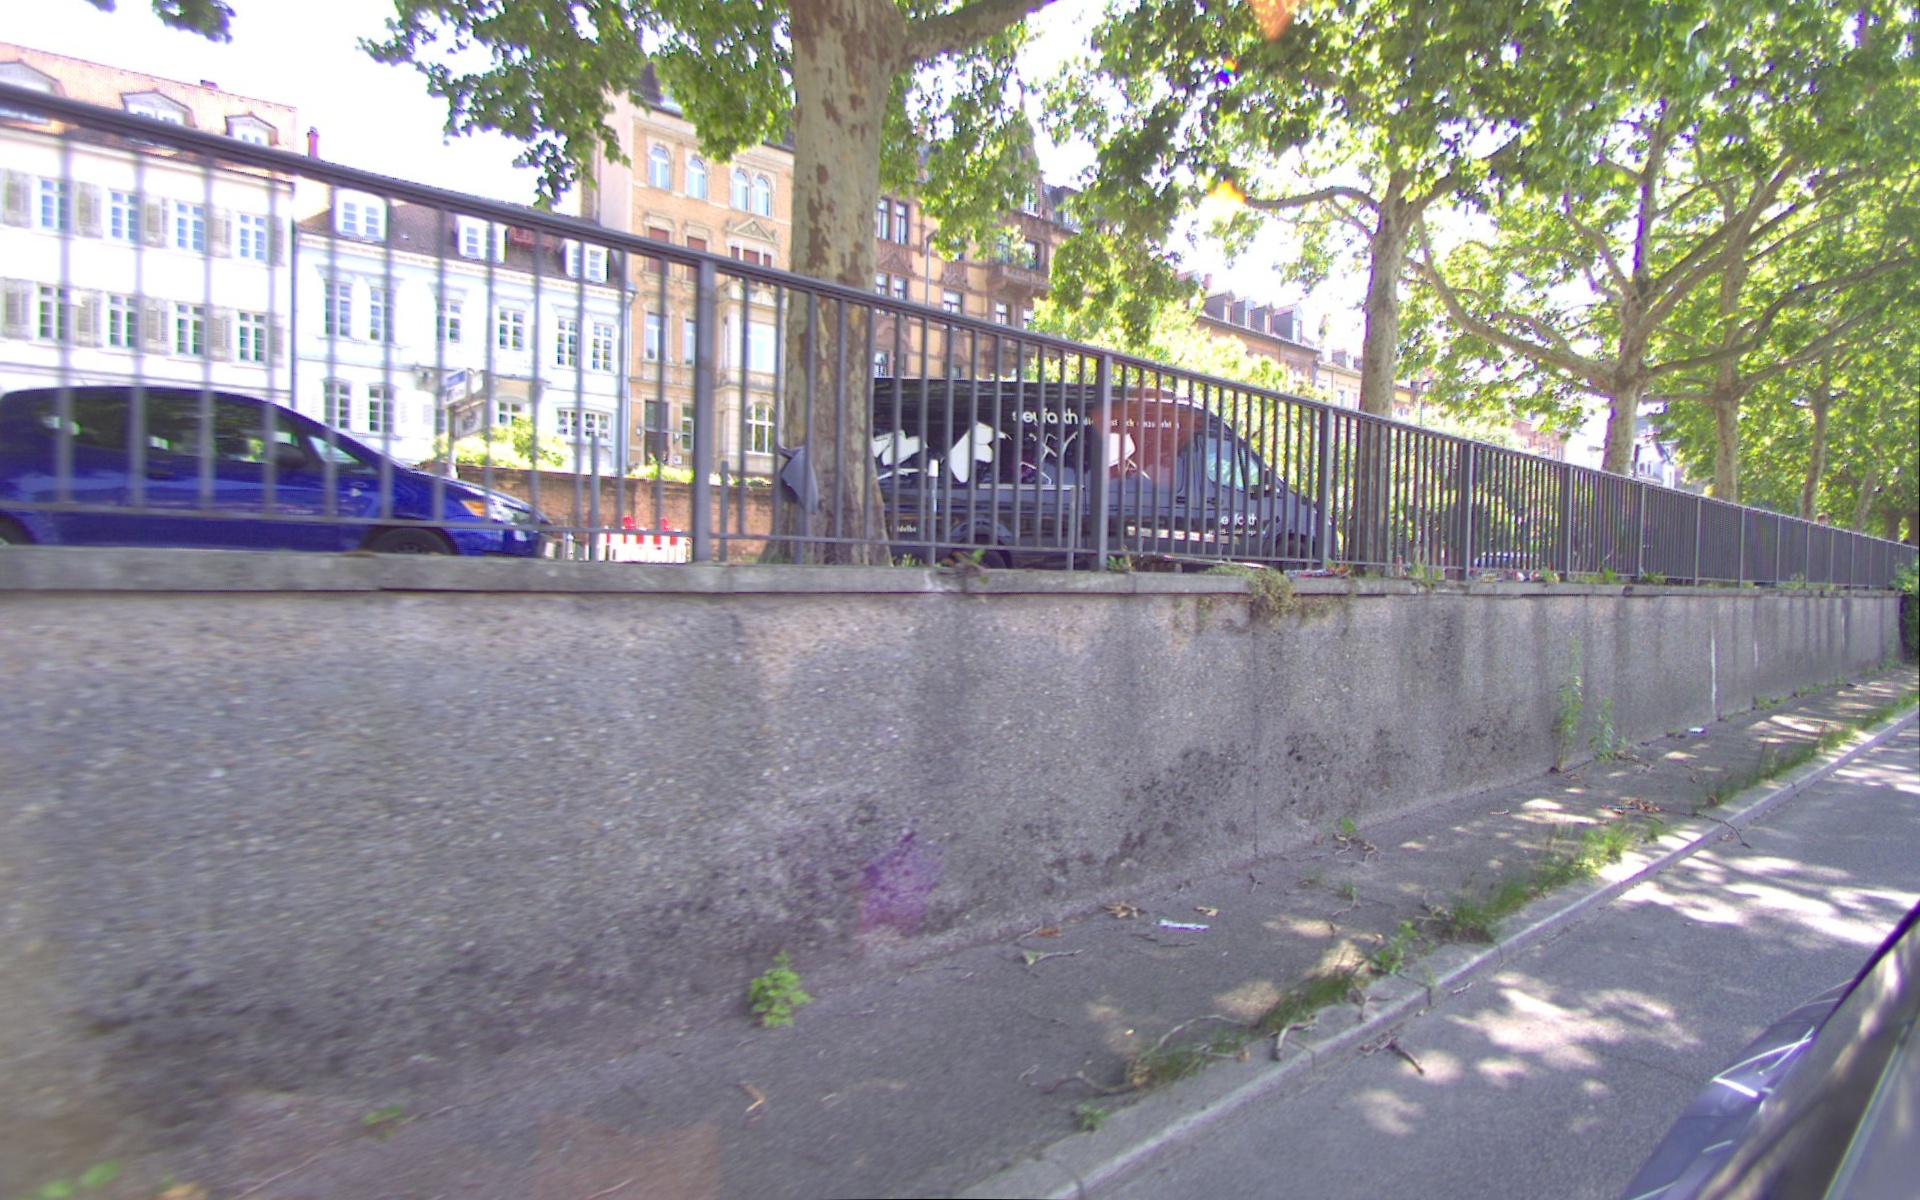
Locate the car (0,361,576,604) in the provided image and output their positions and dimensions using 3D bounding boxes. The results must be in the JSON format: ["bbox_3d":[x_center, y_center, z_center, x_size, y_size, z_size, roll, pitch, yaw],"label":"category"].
[{"bbox_3d":[-4.923,-0.750,7.487,3.737,1.519,1.658,0,1,-15],"label":"car"}]

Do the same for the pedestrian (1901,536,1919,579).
[{"bbox_3d":[36.797,-1.638,39.054,0.646,1.660,0.617,2,1,42],"label":"pedestrian"}]

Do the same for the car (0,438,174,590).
[{"bbox_3d":[-10.212,-0.898,10.131,3.652,1.444,1.878,0,4,-40],"label":"car"}]

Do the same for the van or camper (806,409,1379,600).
[{"bbox_3d":[1.642,-1.209,13.630,7.205,2.212,2.349,-1,-1,-11],"label":"van or camper"}]

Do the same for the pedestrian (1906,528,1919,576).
[{"bbox_3d":[28.329,-1.388,29.652,0.800,1.382,0.754,0,4,-42],"label":"pedestrian"}]

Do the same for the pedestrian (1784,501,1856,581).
[{"bbox_3d":[18.000,-1.237,21.186,1.010,1.598,0.938,0,4,-42],"label":"pedestrian"}]

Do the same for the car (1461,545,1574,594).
[{"bbox_3d":[19.319,-1.037,35.006,4.348,1.531,1.842,0,3,-39],"label":"car"}]

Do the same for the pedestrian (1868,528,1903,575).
[{"bbox_3d":[27.934,-1.469,30.550,0.781,1.382,0.645,0,4,-43],"label":"pedestrian"}]
